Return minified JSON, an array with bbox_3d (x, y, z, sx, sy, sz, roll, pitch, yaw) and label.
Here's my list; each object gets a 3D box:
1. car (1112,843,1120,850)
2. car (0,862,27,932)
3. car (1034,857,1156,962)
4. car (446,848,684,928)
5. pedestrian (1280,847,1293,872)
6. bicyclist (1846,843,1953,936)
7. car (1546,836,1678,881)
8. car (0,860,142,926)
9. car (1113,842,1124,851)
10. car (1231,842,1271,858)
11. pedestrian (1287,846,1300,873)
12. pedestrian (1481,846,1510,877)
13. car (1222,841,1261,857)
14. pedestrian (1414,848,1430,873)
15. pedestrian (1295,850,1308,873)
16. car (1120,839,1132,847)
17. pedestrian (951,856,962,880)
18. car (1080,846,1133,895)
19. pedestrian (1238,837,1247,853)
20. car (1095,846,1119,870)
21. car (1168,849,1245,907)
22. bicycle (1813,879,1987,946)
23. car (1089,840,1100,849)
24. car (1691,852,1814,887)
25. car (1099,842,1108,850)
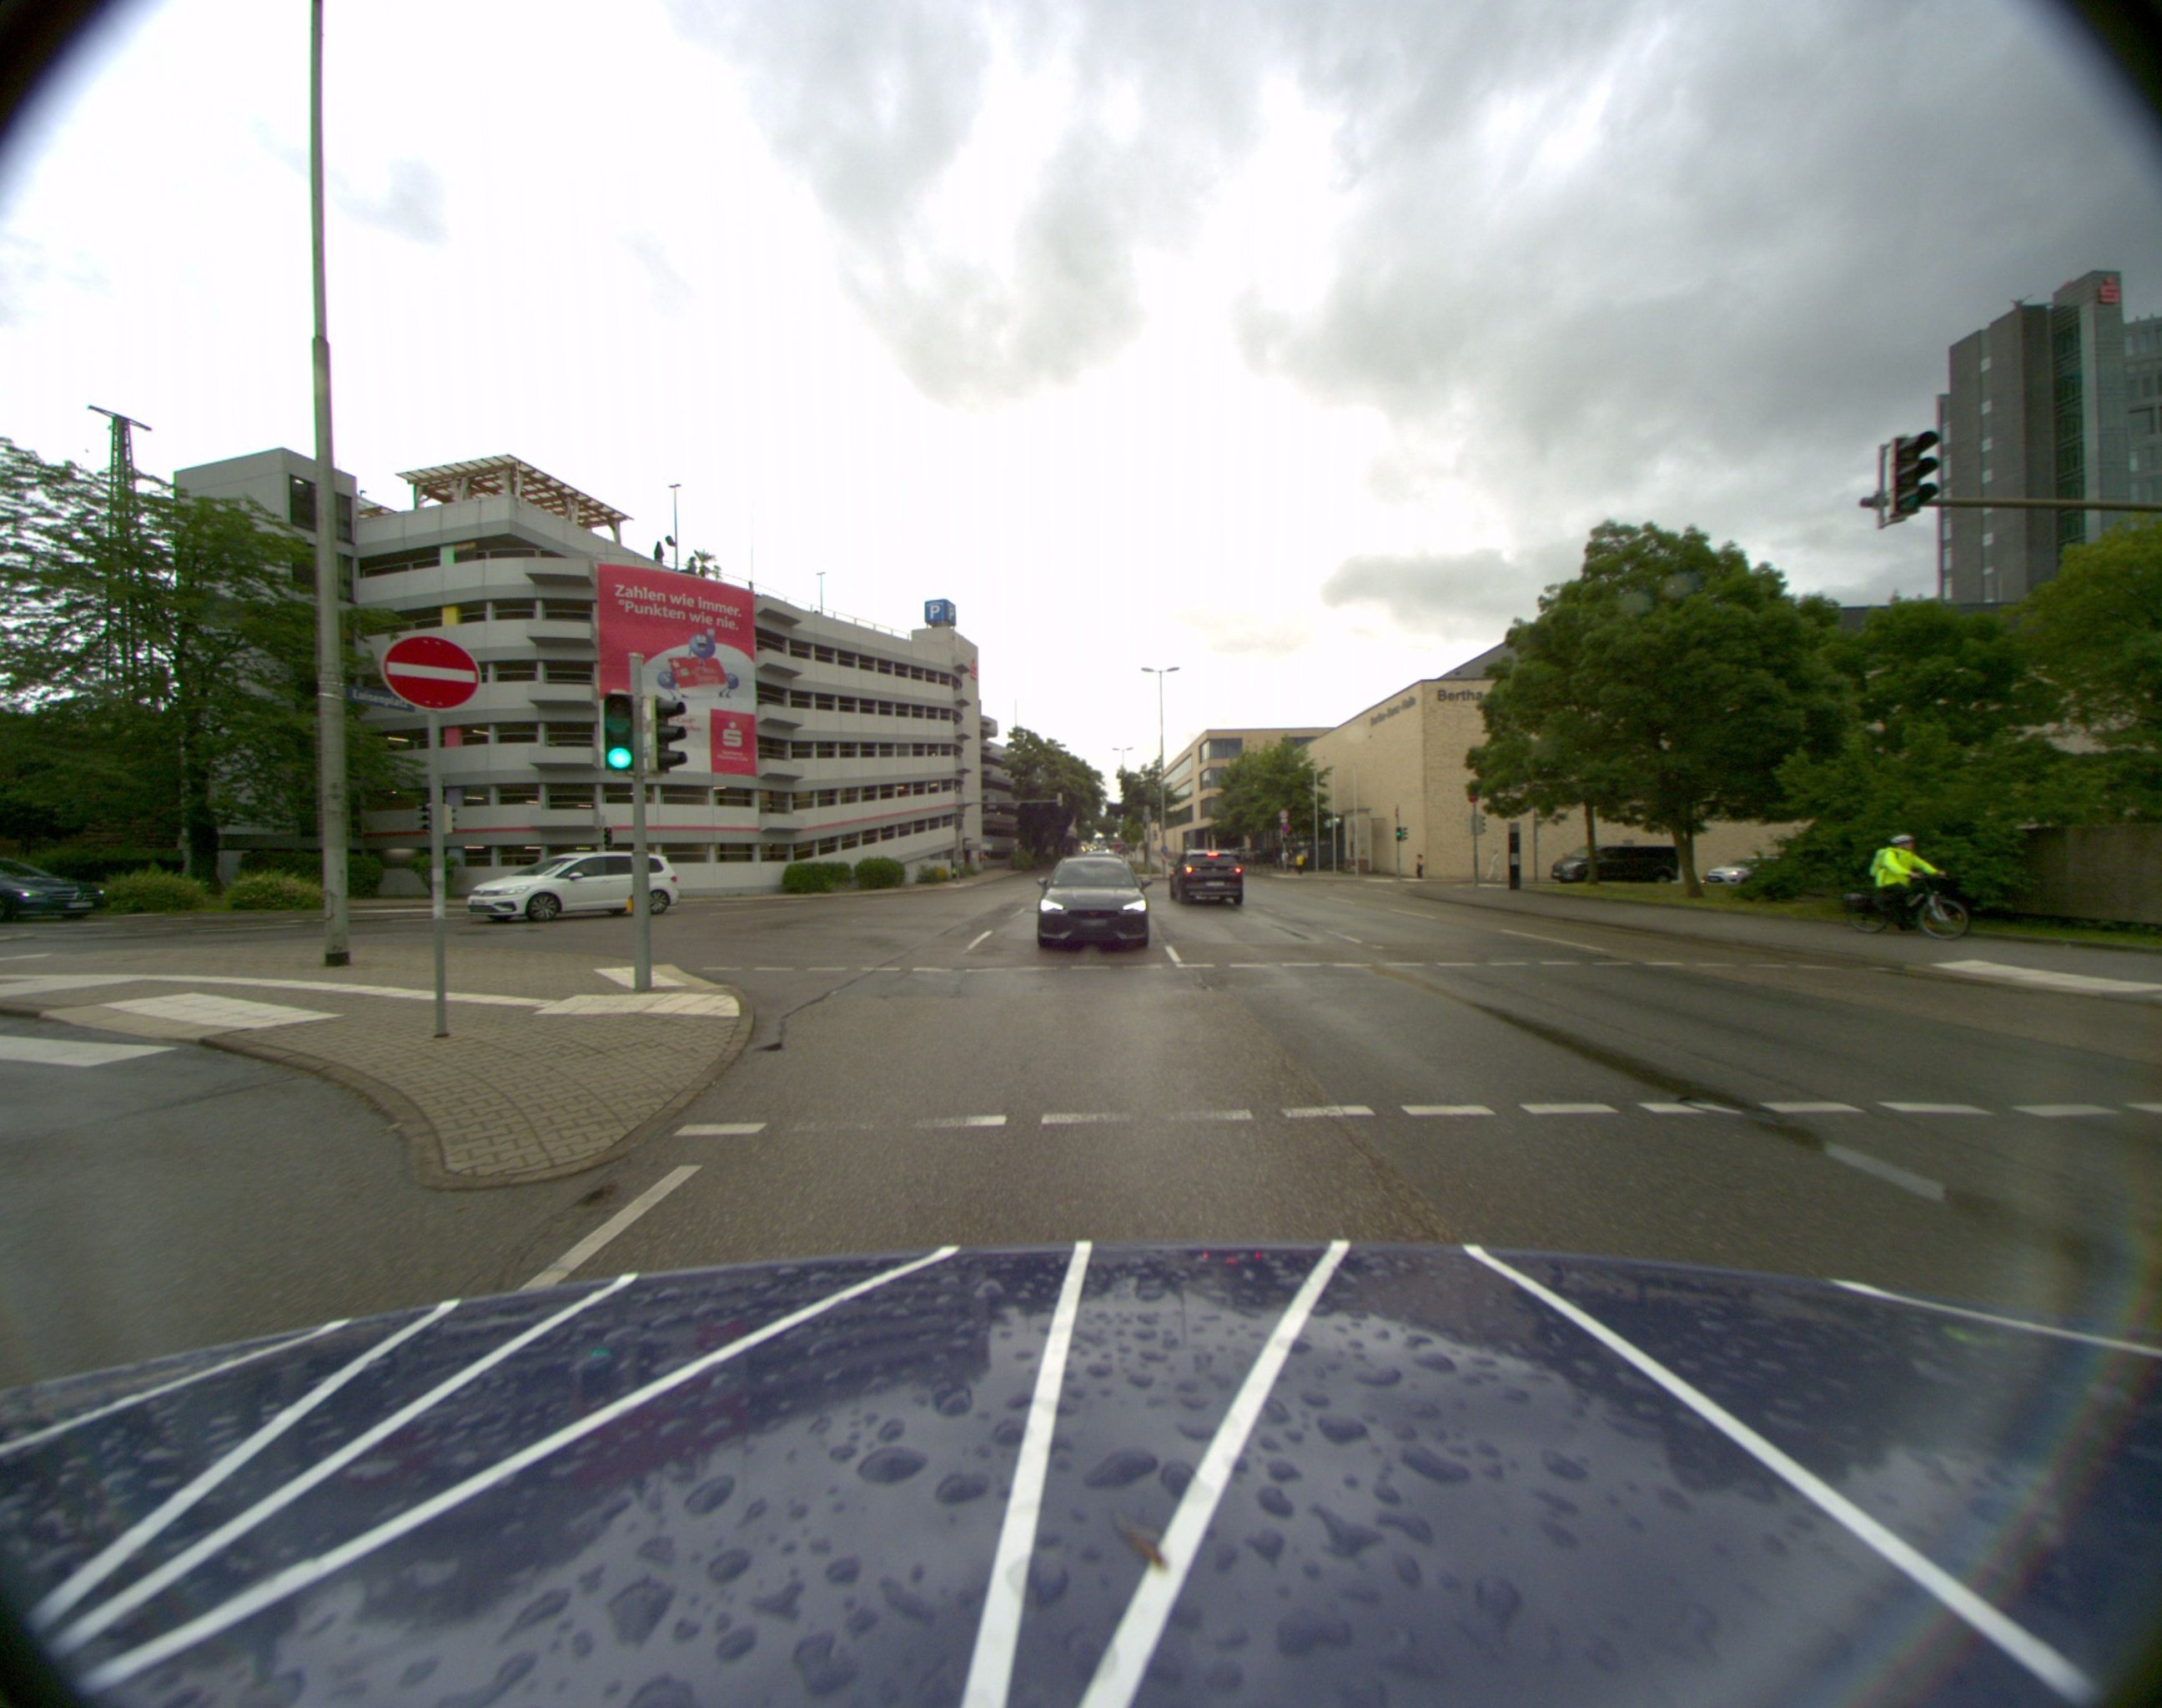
[{"bbox_3d":[8.485,-1.799,185.656,1.675,1.598,4.300,2,1,-1],"label":"car"},{"bbox_3d":[-24.709,0.886,15.006,4.484,1.436,1.998,0,0,-8],"label":"car"},{"bbox_3d":[0.135,0.826,13.457,1.739,1.380,4.581,-3,1,-2],"label":"car"},{"bbox_3d":[-12.410,0.740,18.637,1.995,1.716,4.407,-1,0,25],"label":"car"},{"bbox_3d":[14.159,0.381,52.371,0.595,1.721,0.692,-3,1,-4],"label":"pedestrian"},{"bbox_3d":[13.360,0.561,12.430,0.844,1.434,0.812,-3,1,3],"label":"bicyclist"},{"bbox_3d":[25.055,0.207,35.957,4.790,1.914,1.999,2,1,-2],"label":"car"},{"bbox_3d":[-25.817,0.874,18.001,4.482,1.436,1.999,0,0,-2],"label":"car"},{"bbox_3d":[7.586,-1.541,153.878,1.855,1.842,4.300,2,1,-1],"label":"car"},{"bbox_3d":[18.551,-0.465,82.918,3.995,1.576,2.000,-3,1,5],"label":"car"},{"bbox_3d":[13.841,0.365,49.546,0.595,1.761,0.692,-3,1,0],"label":"pedestrian"},{"bbox_3d":[23.260,0.409,42.614,1.113,1.690,0.807,-3,1,-1],"label":"pedestrian"},{"bbox_3d":[18.024,-0.535,85.252,3.995,1.576,2.000,-3,1,5],"label":"car"},{"bbox_3d":[19.516,0.370,43.502,0.622,1.368,0.475,-3,1,2],"label":"pedestrian"},{"bbox_3d":[14.819,0.481,51.067,0.595,1.508,0.692,-3,1,0],"label":"pedestrian"},{"bbox_3d":[7.930,-1.929,133.554,1.675,1.461,4.300,1,1,-1],"label":"car"},{"bbox_3d":[-8.749,0.987,53.443,0.584,1.650,0.519,2,3,18],"label":"pedestrian"},{"bbox_3d":[1.019,0.567,29.292,1.845,1.647,4.000,-3,1,3],"label":"car"},{"bbox_3d":[17.168,-1.000,80.747,0.803,1.638,0.976,-3,1,7],"label":"pedestrian"},{"bbox_3d":[2.151,0.280,62.510,1.804,1.818,3.949,-3,0,2],"label":"car"},{"bbox_3d":[3.769,0.671,23.481,1.812,1.585,4.295,-1,1,2],"label":"car"},{"bbox_3d":[13.375,0.927,12.509,0.887,0.902,1.867,-3,1,3],"label":"bicycle"},{"bbox_3d":[2.627,-1.869,148.255,1.998,1.716,4.400,-1,0,1],"label":"car"},{"bbox_3d":[31.795,0.733,36.081,3.997,1.449,2.000,2,1,0],"label":"car"},{"bbox_3d":[5.481,-1.990,185.599,1.999,1.772,3.999,-3,1,-1],"label":"car"}]
